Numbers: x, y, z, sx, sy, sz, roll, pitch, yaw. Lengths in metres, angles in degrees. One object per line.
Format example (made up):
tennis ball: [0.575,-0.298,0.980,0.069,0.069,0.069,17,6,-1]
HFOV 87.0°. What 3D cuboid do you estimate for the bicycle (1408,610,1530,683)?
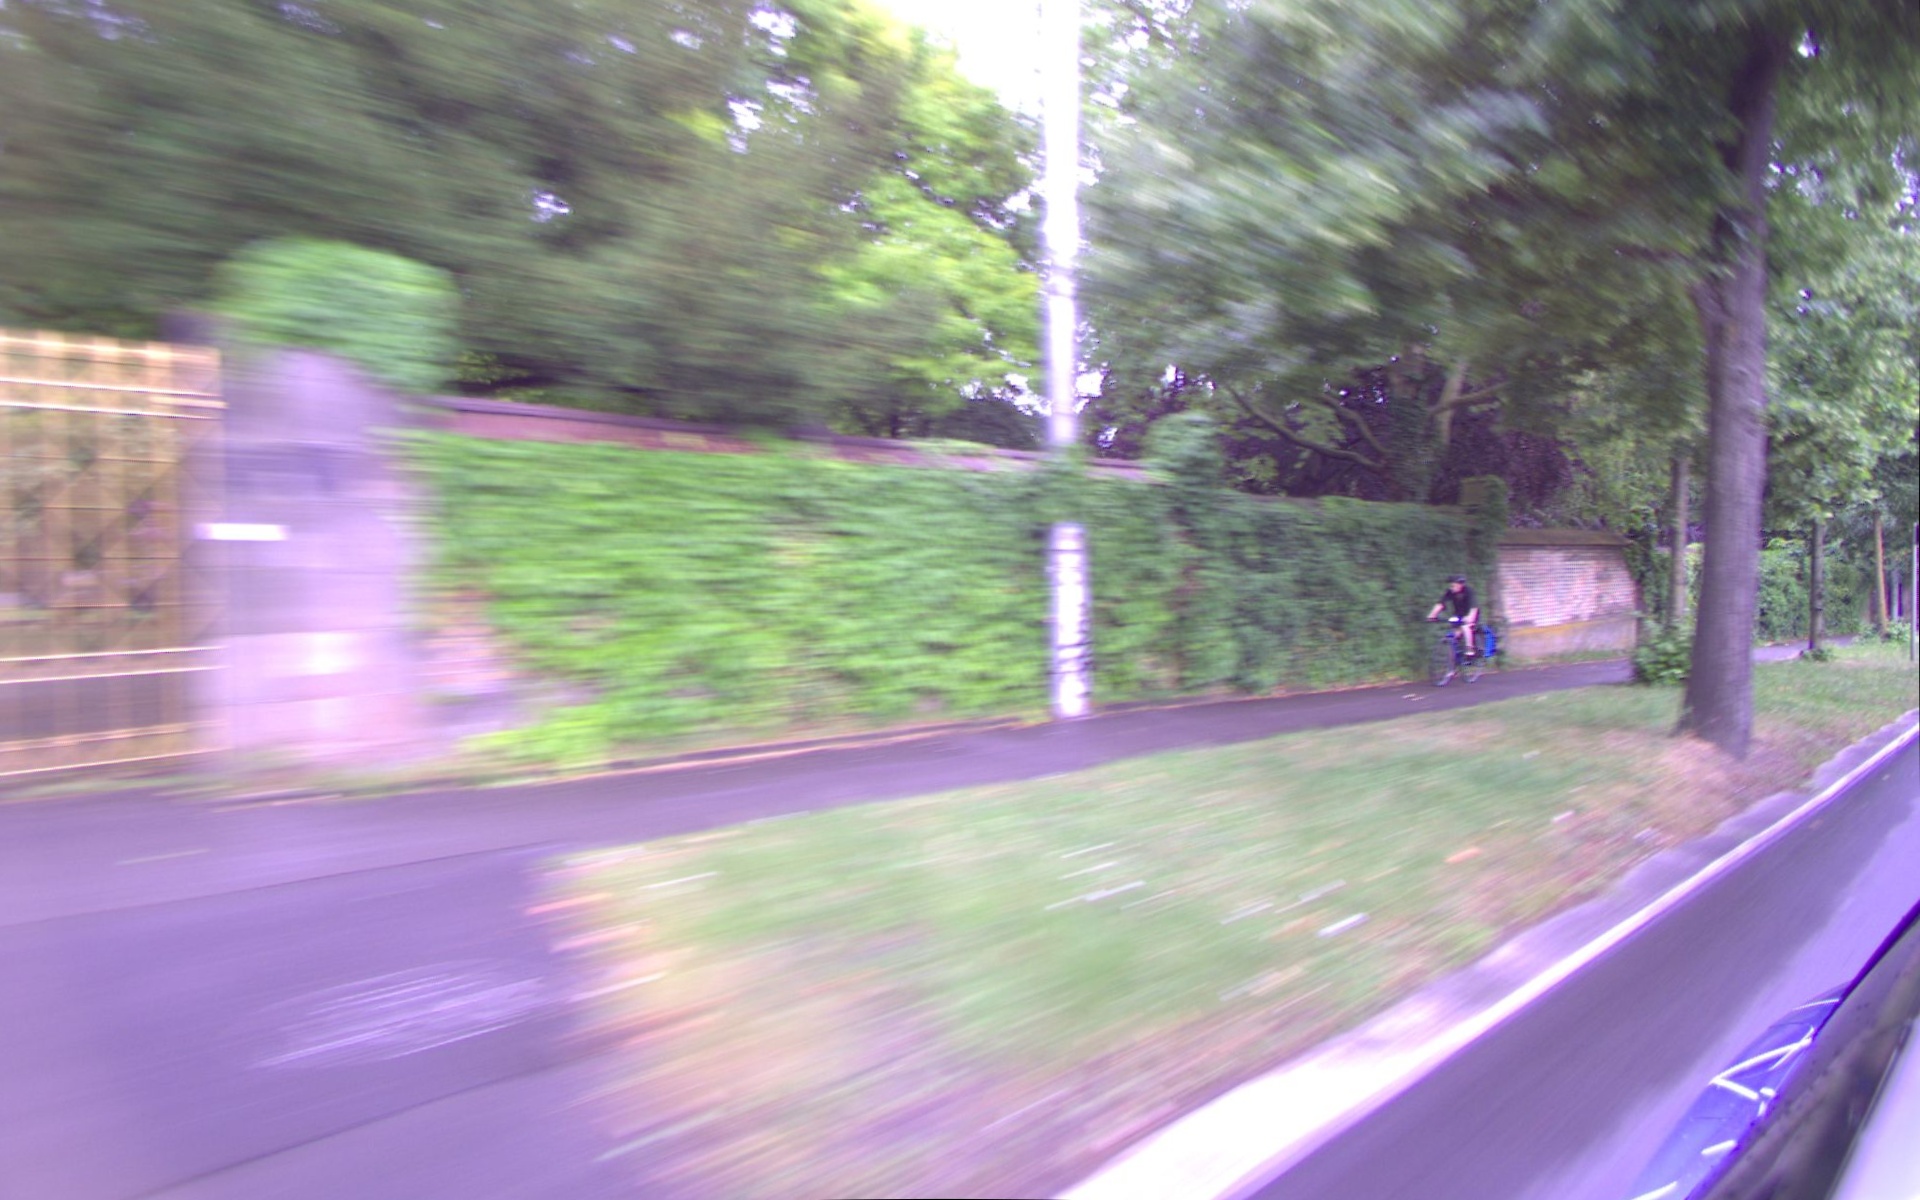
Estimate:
bicycle: [7.482,0.645,14.805,2.502,0.960,0.544,0,2,-38]

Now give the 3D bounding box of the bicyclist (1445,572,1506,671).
bicyclist: [7.573,0.303,14.864,0.654,1.407,0.536,0,1,-38]
